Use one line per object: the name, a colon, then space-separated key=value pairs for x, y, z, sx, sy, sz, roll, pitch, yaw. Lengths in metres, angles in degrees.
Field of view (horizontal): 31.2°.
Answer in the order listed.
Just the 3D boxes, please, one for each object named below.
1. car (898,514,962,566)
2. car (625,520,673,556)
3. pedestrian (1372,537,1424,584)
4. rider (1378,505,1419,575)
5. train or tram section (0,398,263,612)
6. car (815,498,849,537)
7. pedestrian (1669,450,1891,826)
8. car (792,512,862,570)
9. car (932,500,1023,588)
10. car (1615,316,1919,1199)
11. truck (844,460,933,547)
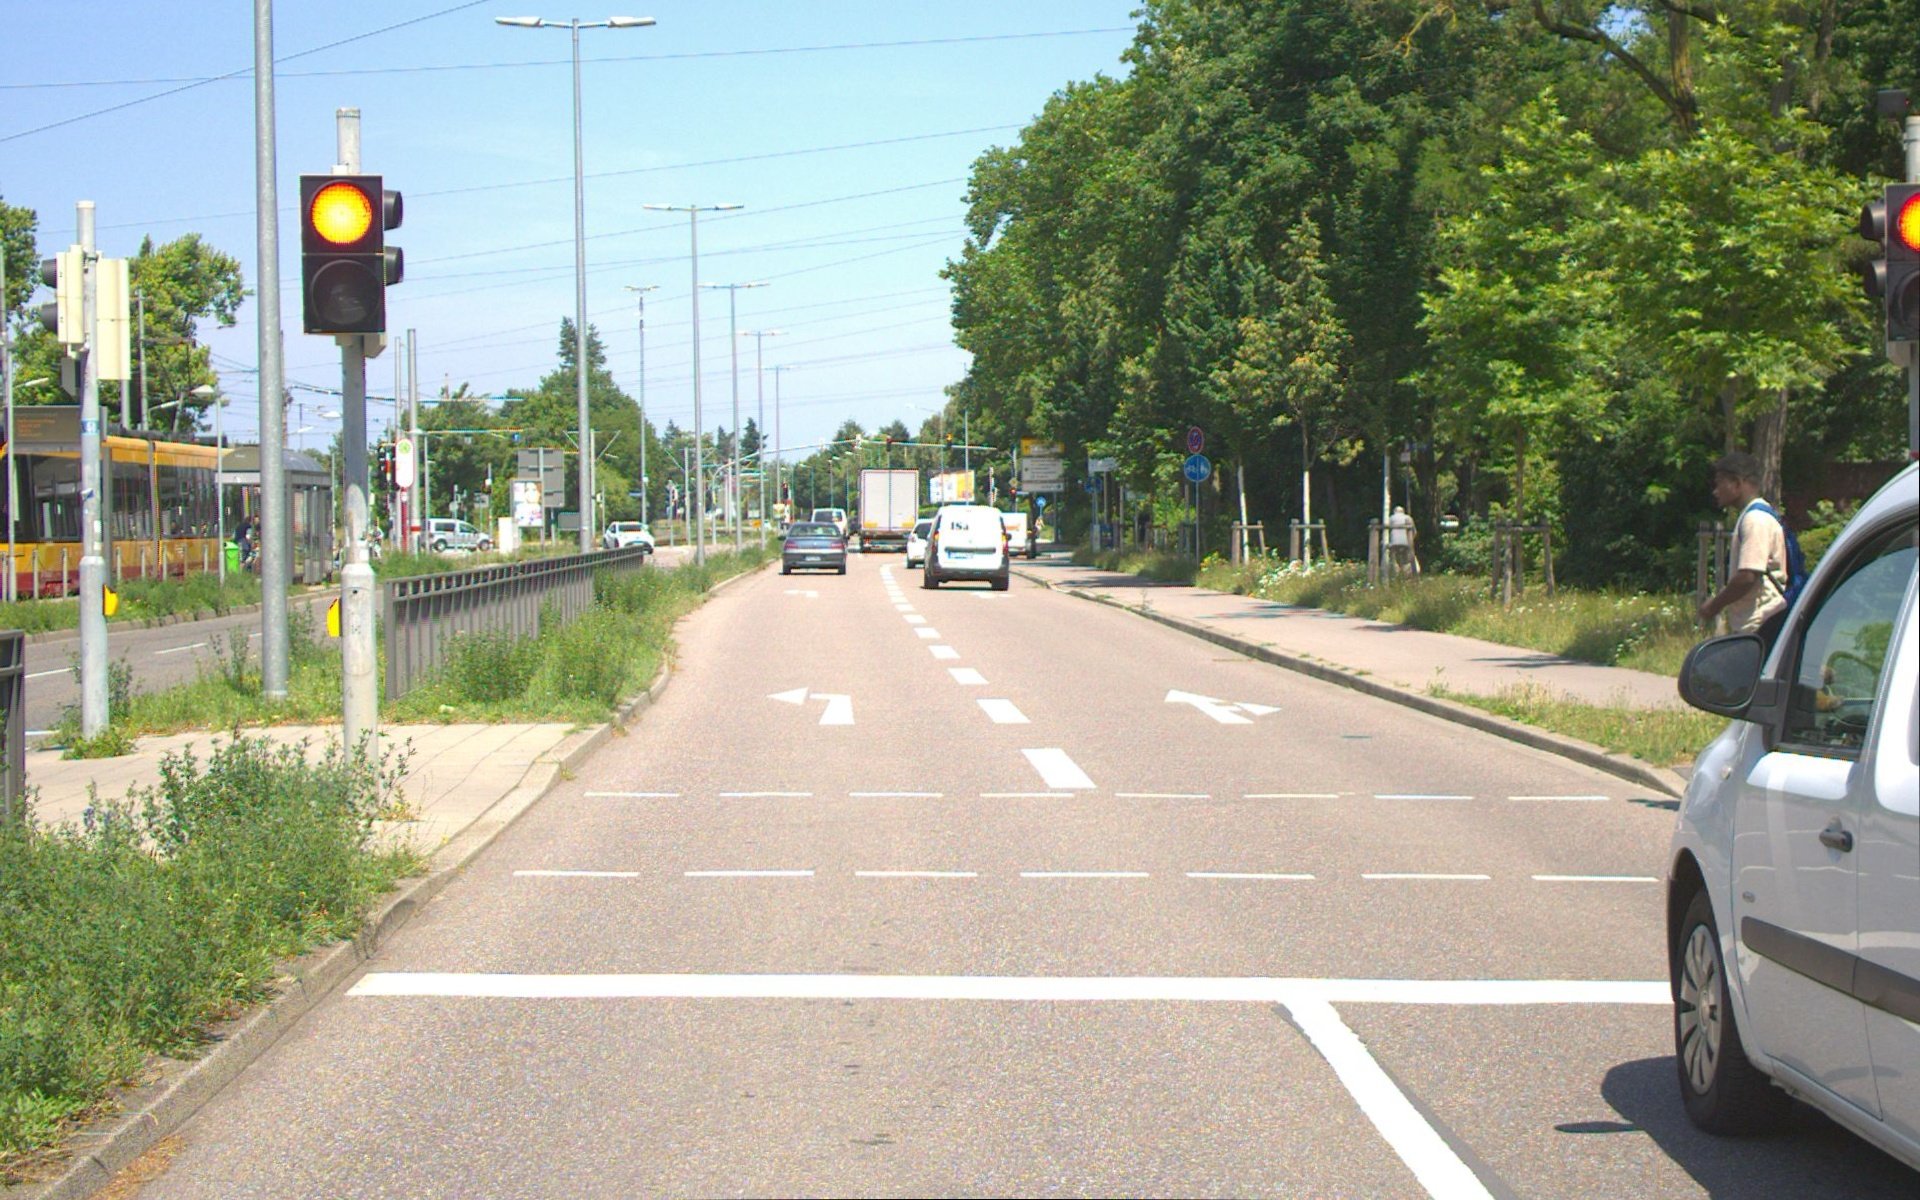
car: x=-0.933 y=-1.846 z=104.902 sx=1.803 sy=1.534 sz=4.001 roll=0 pitch=1 yaw=-3
car: x=-14.581 y=-2.937 z=161.164 sx=1.993 sy=1.644 sz=4.001 roll=0 pitch=1 yaw=-2
pedestrian: x=8.081 y=-0.733 z=63.418 sx=0.678 sy=0.845 sz=1.774 roll=0 pitch=1 yaw=-2
rider: x=8.081 y=-1.110 z=63.379 sx=0.678 sy=1.277 sz=0.534 roll=0 pitch=1 yaw=-2
train or tram section: x=-18.132 y=-1.924 z=71.516 sx=2.787 sy=3.655 sz=26.002 roll=0 pitch=1 yaw=-2
car: x=-6.398 y=-4.135 z=172.450 sx=1.687 sy=1.891 sz=3.871 roll=0 pitch=1 yaw=-2
pedestrian: x=4.124 y=0.174 z=17.337 sx=1.047 sy=1.844 sz=0.757 roll=1 pitch=1 yaw=13
car: x=-3.519 y=-1.592 z=91.640 sx=1.801 sy=1.481 sz=4.001 roll=0 pitch=2 yaw=-2
car: x=0.402 y=-1.231 z=74.264 sx=1.728 sy=1.807 sz=4.000 roll=1 pitch=2 yaw=3
car: x=2.705 y=0.403 z=6.919 sx=1.824 sy=1.875 sz=4.456 roll=1 pitch=1 yaw=-1
truck: x=-3.310 y=-4.363 z=156.460 sx=3.899 sy=3.799 sz=10.794 roll=0 pitch=1 yaw=-2
